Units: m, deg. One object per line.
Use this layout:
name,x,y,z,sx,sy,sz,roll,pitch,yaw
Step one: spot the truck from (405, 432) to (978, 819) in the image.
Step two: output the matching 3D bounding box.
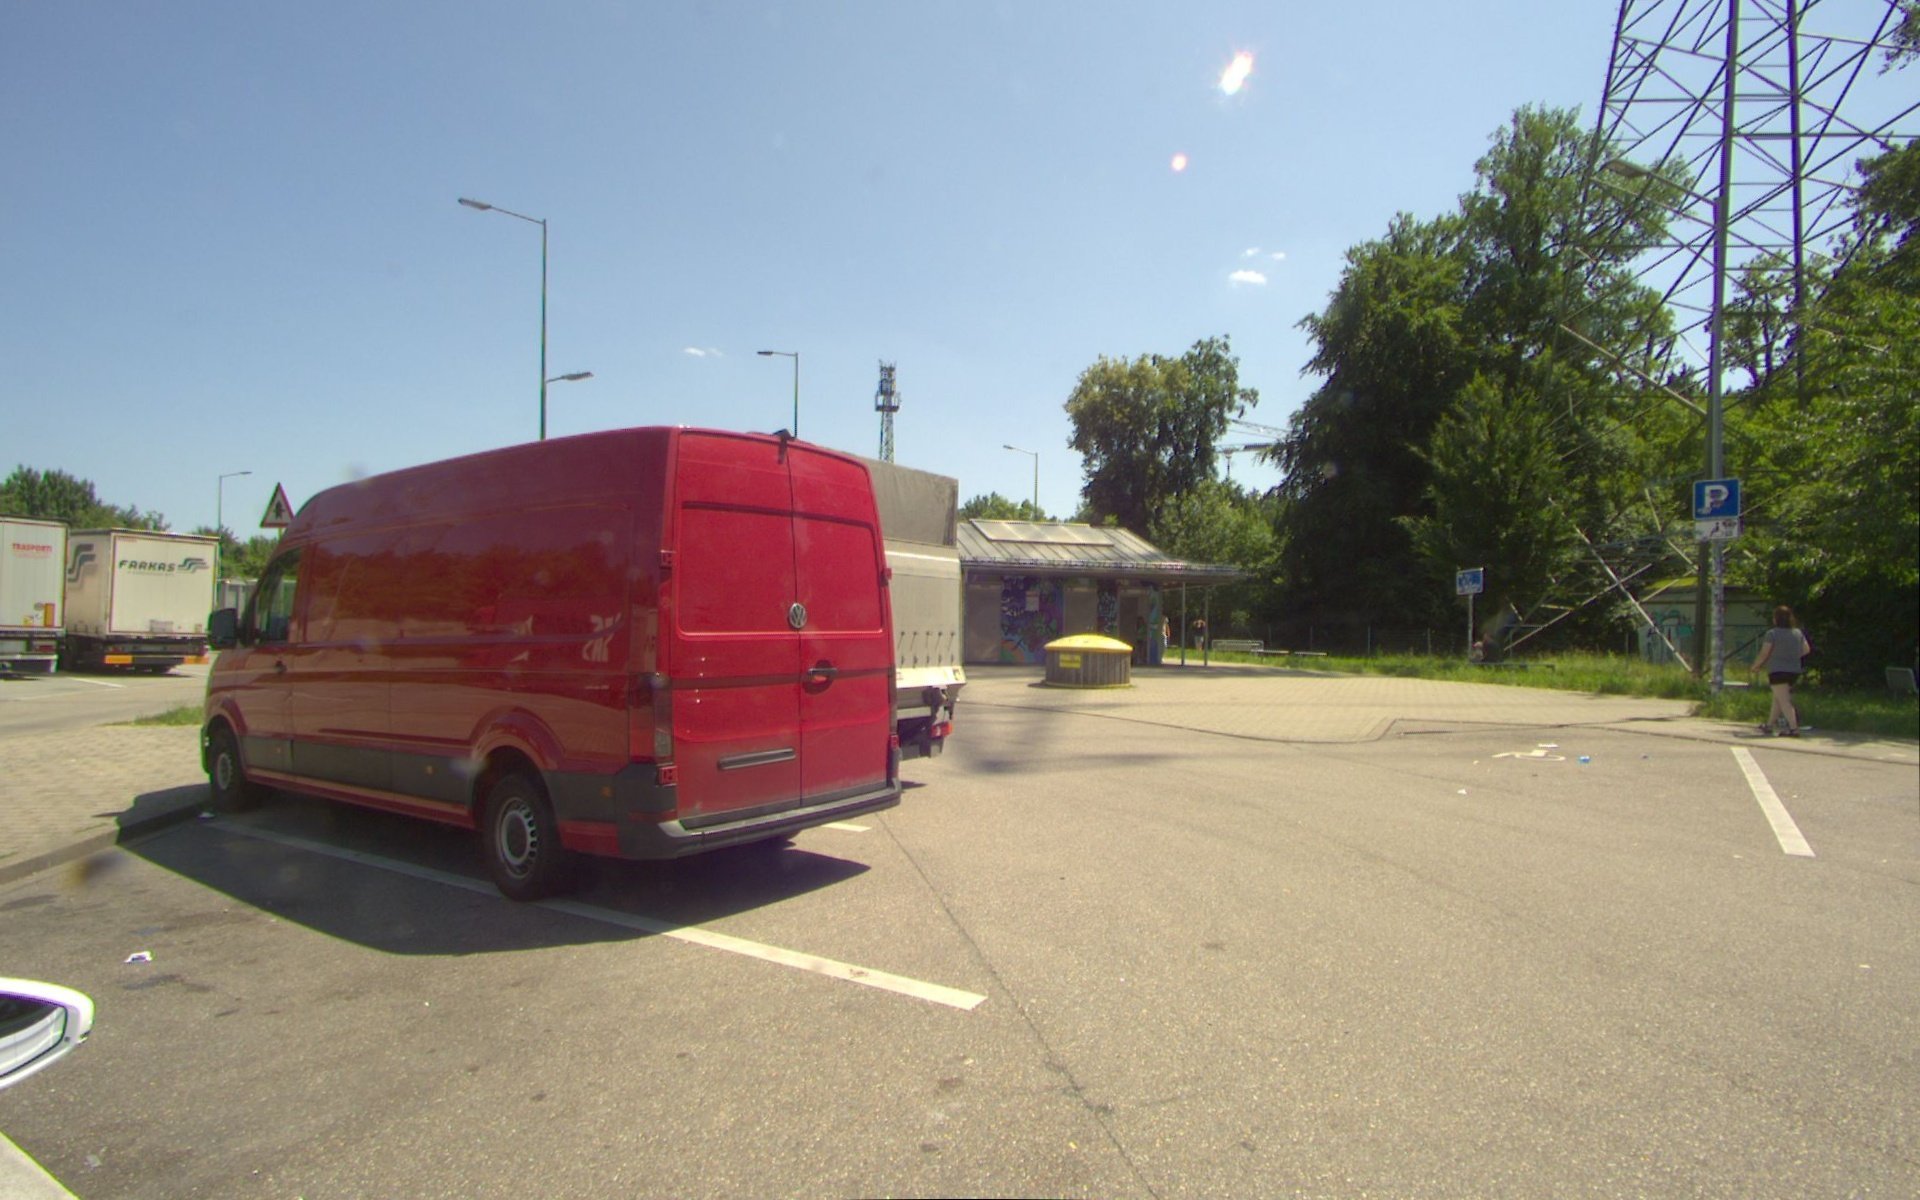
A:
truck,-3.079,0.274,10.505,6.372,2.944,2.411,-1,-2,37

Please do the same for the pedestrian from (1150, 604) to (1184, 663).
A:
pedestrian,6.975,1.131,33.809,0.799,1.929,0.920,0,-1,-15

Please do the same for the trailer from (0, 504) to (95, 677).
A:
trailer,-28.677,-0.343,28.009,13.561,4.162,2.854,1,-2,32

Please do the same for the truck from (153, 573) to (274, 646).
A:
truck,-37.534,0.470,50.312,5.887,3.406,2.862,1,-2,32

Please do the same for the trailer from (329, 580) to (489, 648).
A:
trailer,-36.153,0.838,65.327,13.561,3.955,2.854,1,-2,32

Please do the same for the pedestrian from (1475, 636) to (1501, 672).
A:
pedestrian,14.653,1.491,27.797,0.439,0.987,0.460,0,-1,-19

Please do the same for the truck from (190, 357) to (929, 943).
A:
truck,-3.331,0.303,7.321,6.372,2.685,2.005,-1,-2,37

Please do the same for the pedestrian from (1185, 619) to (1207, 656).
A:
pedestrian,10.679,1.696,45.337,0.801,1.639,0.918,-1,-1,26

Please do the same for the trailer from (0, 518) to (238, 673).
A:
trailer,-27.604,-0.171,31.597,13.561,4.162,2.854,1,-2,32

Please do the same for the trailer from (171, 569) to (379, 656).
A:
trailer,-32.463,0.480,47.087,13.561,3.646,2.854,1,-2,32

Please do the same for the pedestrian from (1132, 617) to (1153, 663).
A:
pedestrian,5.642,1.229,30.949,0.532,1.392,0.583,0,-1,0

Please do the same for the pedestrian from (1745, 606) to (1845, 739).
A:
pedestrian,10.789,0.920,12.959,0.674,1.670,0.715,0,-1,-6
